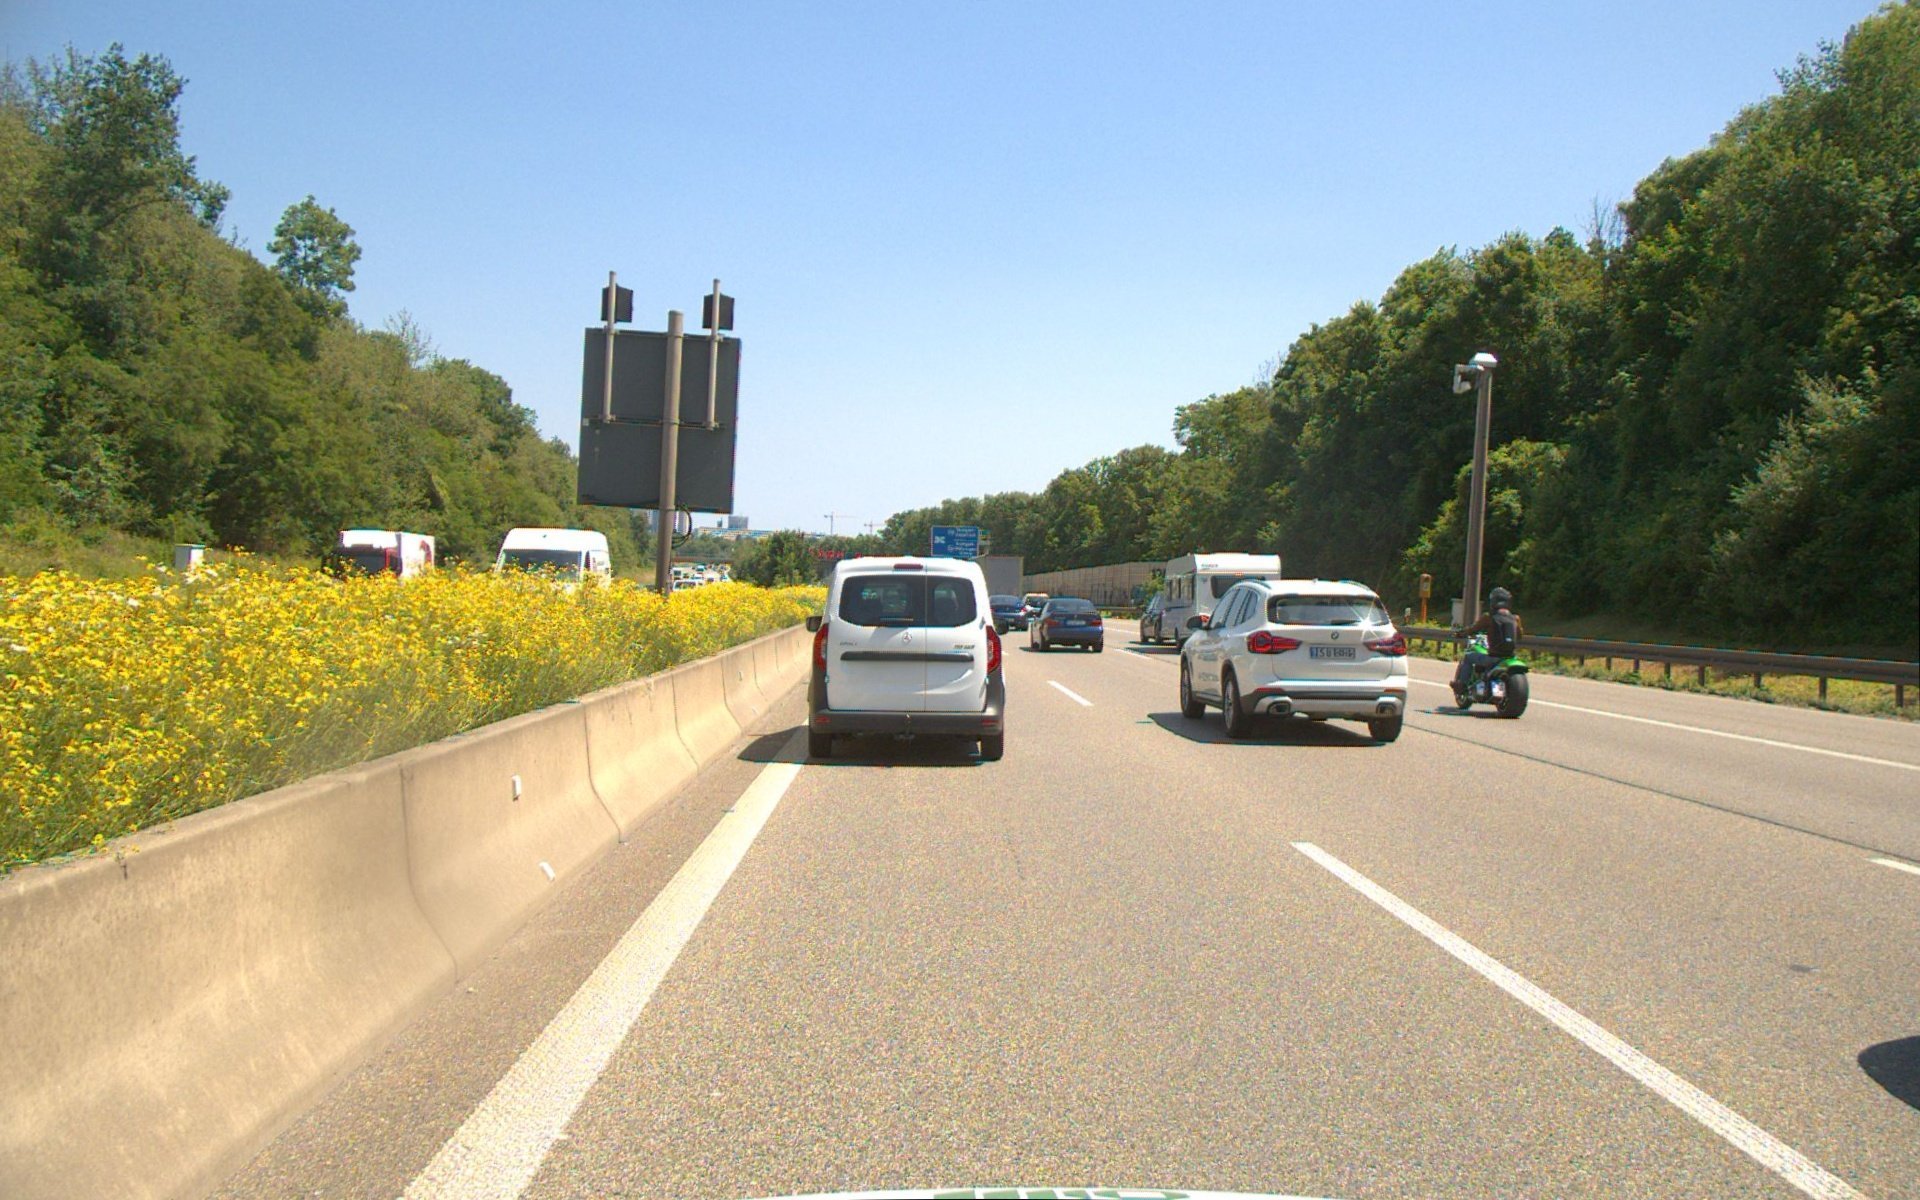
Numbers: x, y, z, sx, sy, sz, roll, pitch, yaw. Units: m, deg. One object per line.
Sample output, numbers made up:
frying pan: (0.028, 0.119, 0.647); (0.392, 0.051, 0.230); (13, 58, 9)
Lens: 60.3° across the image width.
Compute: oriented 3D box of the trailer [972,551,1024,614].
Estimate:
trailer: (2.532, -1.193, 113.669); (3.019, 4.055, 10.321); (1, 0, -1)

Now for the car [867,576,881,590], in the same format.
car: (-13.010, -2.634, 251.285); (1.953, 2.049, 3.999); (1, 0, -1)

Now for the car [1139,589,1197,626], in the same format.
car: (8.435, 0.292, 67.434); (1.787, 1.449, 3.999); (1, 0, -1)

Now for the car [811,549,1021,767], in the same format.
car: (-0.437, 0.485, 16.155); (1.766, 1.839, 3.999); (1, 0, -2)

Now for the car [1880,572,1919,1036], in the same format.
car: (4.184, 0.735, 3.556); (1.801, 1.539, 4.400); (1, 1, -2)

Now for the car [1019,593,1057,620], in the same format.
car: (4.307, 0.337, 91.726); (1.787, 1.449, 3.999); (1, 0, -1)

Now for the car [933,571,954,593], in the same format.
car: (-1.588, -1.690, 158.232); (1.953, 2.049, 3.999); (1, 0, -1)

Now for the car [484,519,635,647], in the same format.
car: (-8.735, -0.361, 36.641); (1.953, 2.586, 5.908); (1, 0, -1)

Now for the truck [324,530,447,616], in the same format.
truck: (-22.076, -1.008, 63.953); (2.358, 3.058, 7.456); (1, 0, -2)

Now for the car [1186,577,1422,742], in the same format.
car: (3.753, 0.595, 18.708); (1.833, 1.636, 3.879); (1, 0, 0)

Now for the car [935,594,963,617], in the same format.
car: (-0.766, 0.350, 112.685); (1.787, 1.472, 3.999); (1, 0, -1)

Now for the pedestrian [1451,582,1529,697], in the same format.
pedestrian: (7.138, 0.524, 22.297); (0.834, 1.504, 0.638); (1, 1, 3)

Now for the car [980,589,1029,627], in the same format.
car: (1.783, 0.313, 67.085); (1.787, 1.449, 3.999); (1, 0, -1)

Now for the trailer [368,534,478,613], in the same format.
trailer: (-22.273, -1.056, 68.982); (2.358, 3.058, 7.456); (1, 0, -2)

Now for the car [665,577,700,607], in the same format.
car: (-19.716, -0.571, 117.636); (1.954, 2.049, 3.998); (1, 0, -3)

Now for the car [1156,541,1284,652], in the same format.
car: (7.072, -0.116, 45.744); (2.428, 2.814, 6.218); (1, 0, -1)

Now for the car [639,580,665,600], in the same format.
car: (-28.516, -0.907, 153.338); (1.955, 1.791, 3.995); (1, 0, -5)

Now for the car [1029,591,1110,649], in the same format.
car: (2.857, 0.497, 43.980); (1.787, 1.449, 3.999); (1, 0, -1)

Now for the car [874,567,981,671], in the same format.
car: (-0.639, 0.343, 32.811); (1.953, 1.892, 3.999); (1, 0, -1)

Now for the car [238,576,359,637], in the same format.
car: (-17.174, 0.151, 43.092); (1.752, 1.479, 3.541); (1, 0, -1)

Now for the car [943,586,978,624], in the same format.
car: (-0.005, 0.272, 91.088); (1.787, 2.024, 3.999); (1, 0, -1)

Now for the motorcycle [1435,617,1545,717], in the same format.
motorcycle: (7.141, 0.879, 22.411); (0.841, 1.202, 2.278); (1, 1, 3)
